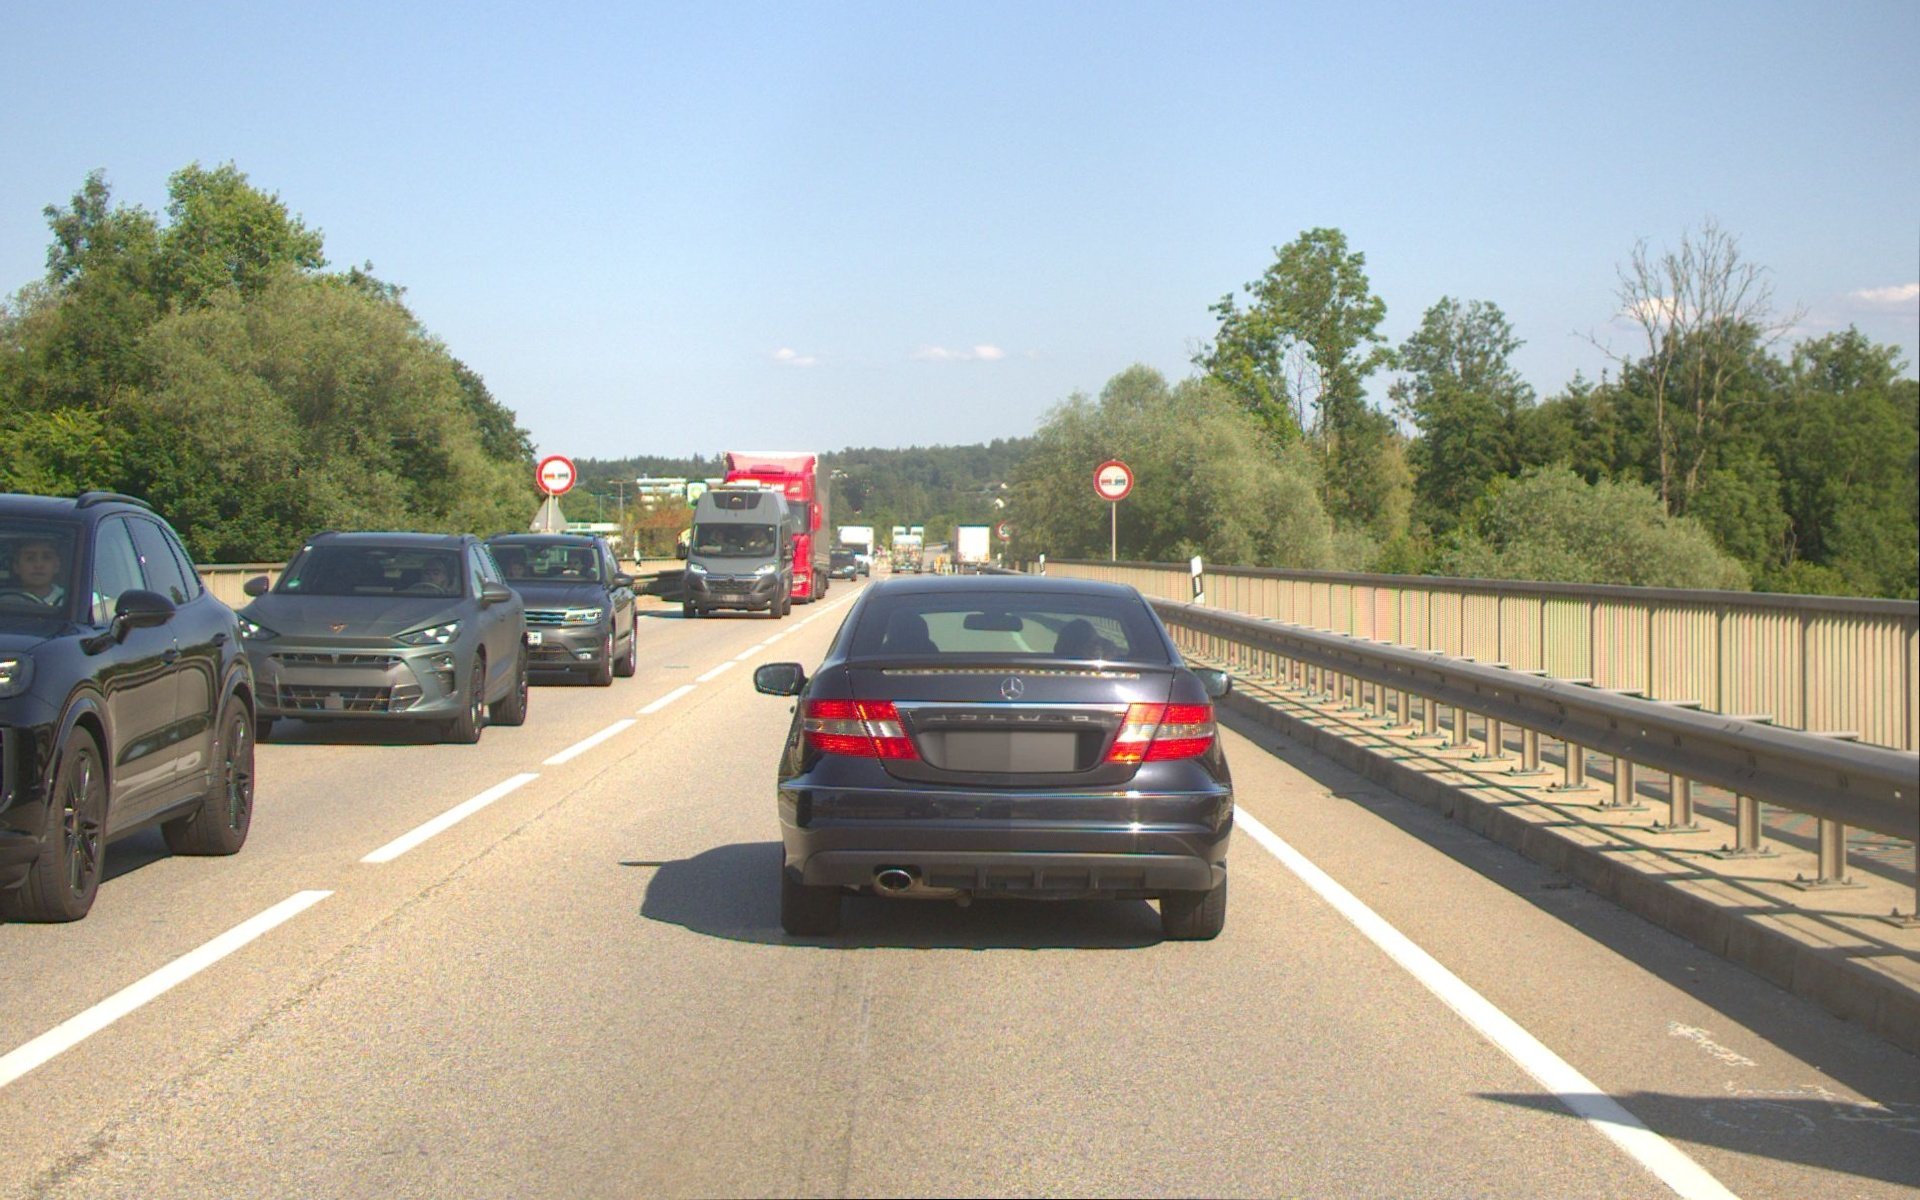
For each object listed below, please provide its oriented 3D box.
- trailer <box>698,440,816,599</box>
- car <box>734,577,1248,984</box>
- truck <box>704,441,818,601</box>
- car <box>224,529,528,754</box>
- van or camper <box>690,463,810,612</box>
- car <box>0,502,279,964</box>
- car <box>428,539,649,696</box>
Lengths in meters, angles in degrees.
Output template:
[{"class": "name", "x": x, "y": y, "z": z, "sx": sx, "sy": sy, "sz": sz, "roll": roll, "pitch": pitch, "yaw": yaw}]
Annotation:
[{"class": "trailer", "x": -6.089, "y": -2.325, "z": 101.259, "sx": 2.907, "sy": 4.287, "sz": 14.305, "roll": 1, "pitch": 1, "yaw": -5}, {"class": "car", "x": 0.129, "y": 0.624, "z": 14.124, "sx": 1.793, "sy": 1.371, "sz": 4.000, "roll": 1, "pitch": 1, "yaw": 1}, {"class": "truck", "x": -5.459, "y": -2.137, "z": 93.845, "sx": 2.907, "sy": 4.170, "sz": 5.714, "roll": 1, "pitch": 1, "yaw": -4}, {"class": "car", "x": -4.451, "y": 0.267, "z": 26.753, "sx": 1.806, "sy": 1.572, "sz": 4.201, "roll": 1, "pitch": 1, "yaw": -3}, {"class": "van or camper", "x": -4.451, "y": -1.339, "z": 73.868, "sx": 2.315, "sy": 3.040, "sz": 6.818, "roll": 1, "pitch": 1, "yaw": -2}, {"class": "car", "x": -4.376, "y": 0.414, "z": 14.610, "sx": 2.053, "sy": 1.647, "sz": 4.721, "roll": 1, "pitch": 1, "yaw": -1}, {"class": "car", "x": -4.562, "y": 0.149, "z": 37.760, "sx": 1.874, "sy": 1.578, "sz": 4.274, "roll": 1, "pitch": 1, "yaw": 0}]
